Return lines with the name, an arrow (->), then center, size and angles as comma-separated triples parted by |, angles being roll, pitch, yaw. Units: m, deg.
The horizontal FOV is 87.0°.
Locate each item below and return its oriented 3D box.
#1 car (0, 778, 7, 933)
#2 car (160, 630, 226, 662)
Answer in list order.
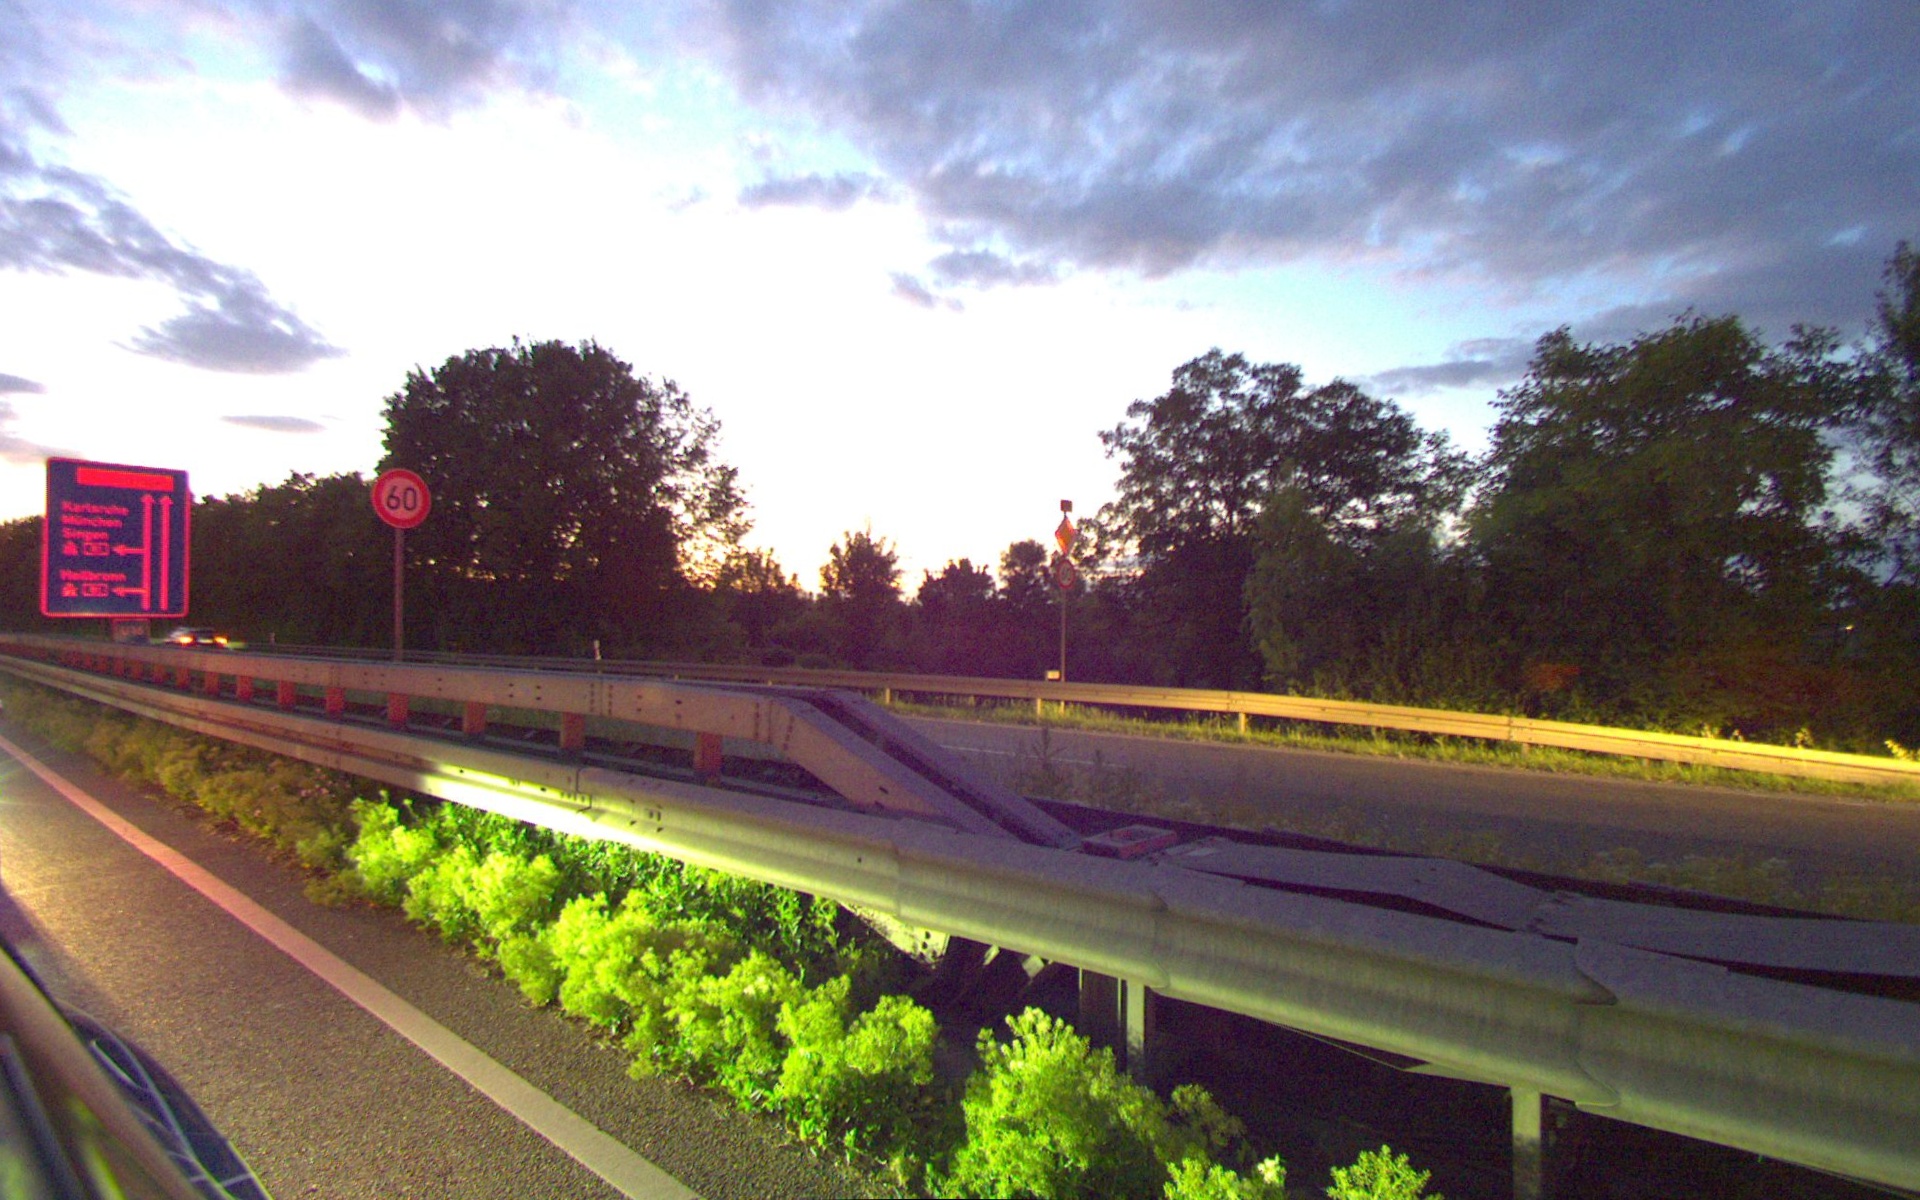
car -> -6.740, 0.909, 5.561 | 4.645, 1.447, 1.796 | -2, 0, 42
car -> -37.547, 2.239, 49.514 | 4.588, 1.516, 1.611 | -2, -3, 41
